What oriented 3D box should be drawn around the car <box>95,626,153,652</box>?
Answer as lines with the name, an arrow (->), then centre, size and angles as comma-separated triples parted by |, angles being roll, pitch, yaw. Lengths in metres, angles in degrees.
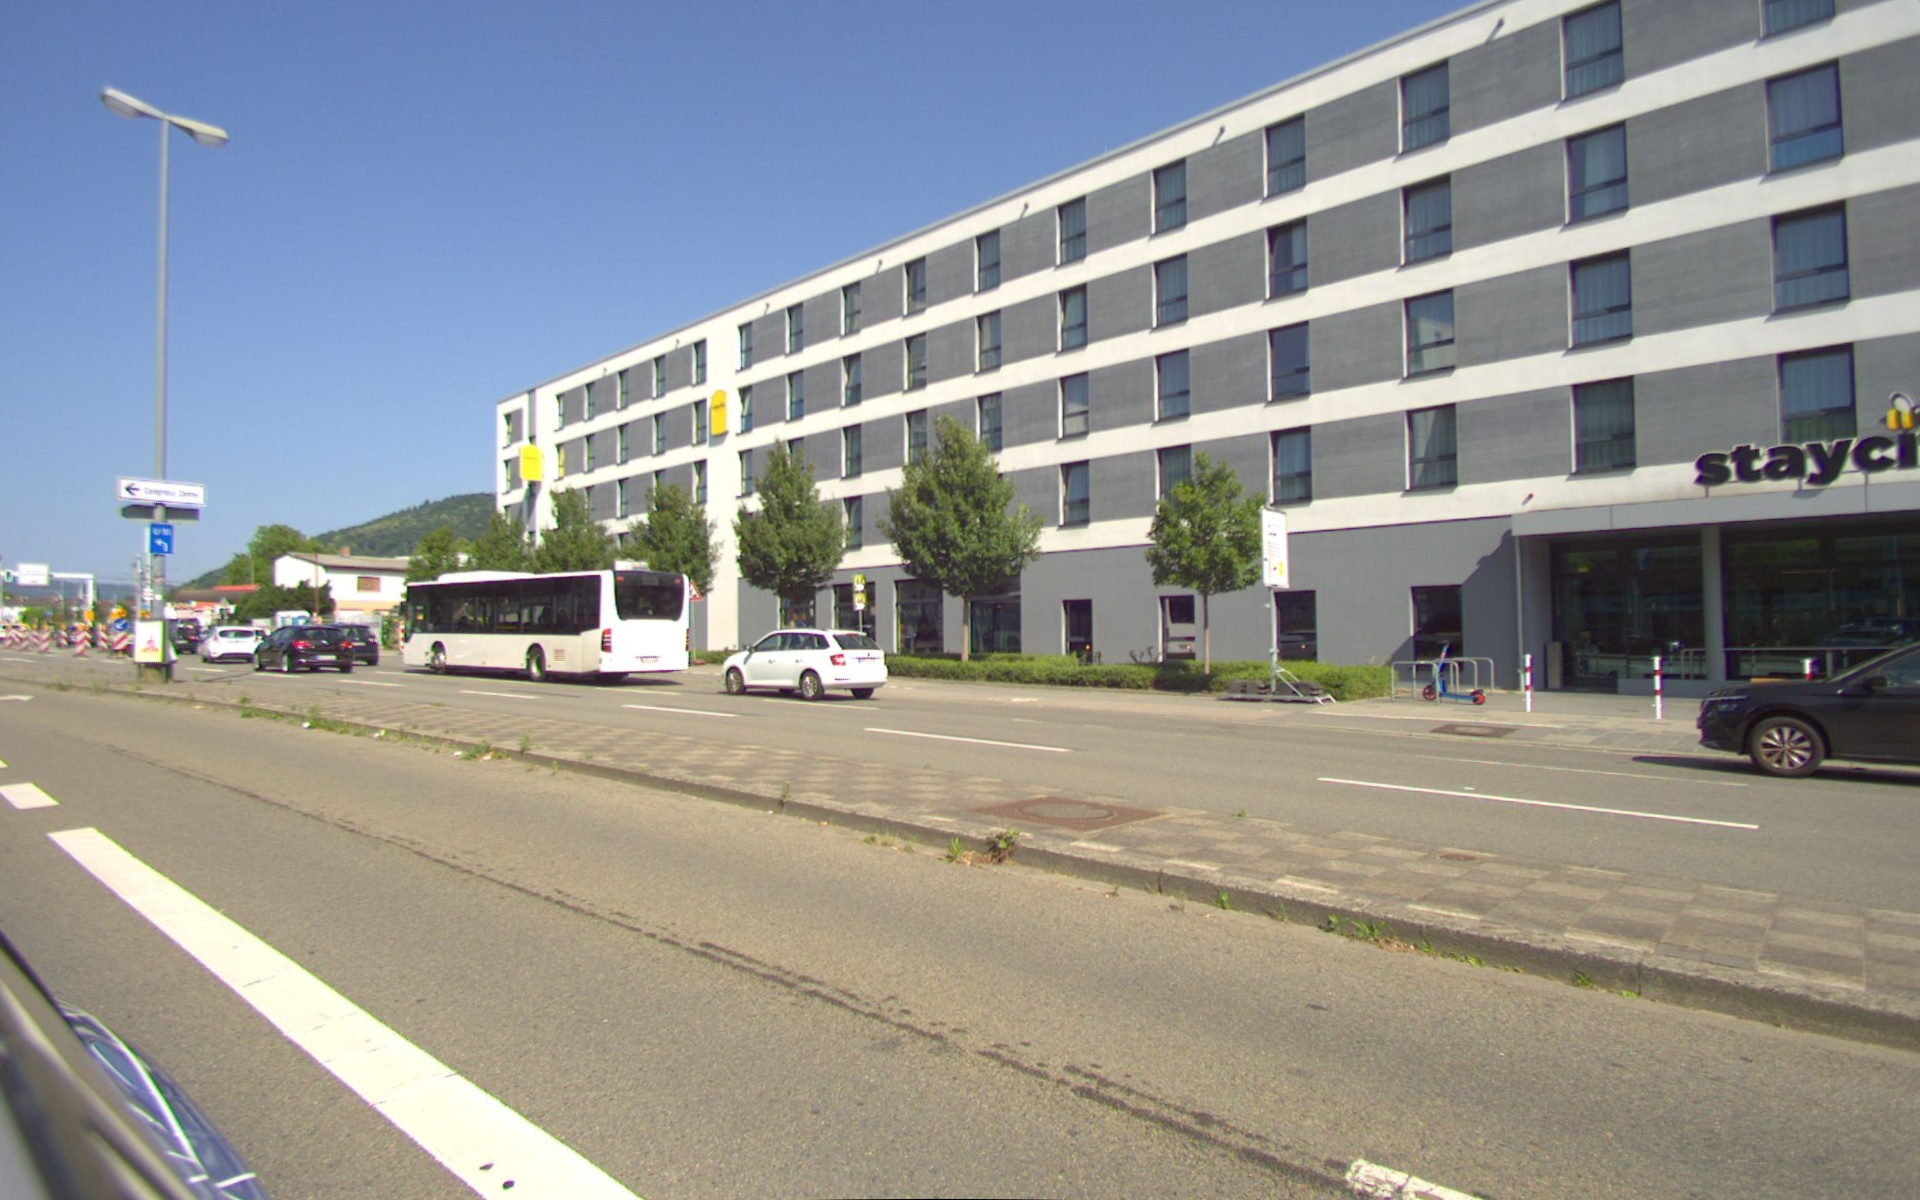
car -> -51.273, 2.344, 62.041 | 4.888, 1.534, 1.973 | -1, -2, 41

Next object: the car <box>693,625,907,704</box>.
car -> -3.479, 1.349, 21.770 | 4.403, 1.497, 1.976 | 0, -4, 36

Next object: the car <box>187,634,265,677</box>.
car -> -28.926, 2.136, 39.841 | 4.000, 1.462, 1.740 | 0, 0, 43

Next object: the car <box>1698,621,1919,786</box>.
car -> 10.277, 1.031, 10.208 | 4.411, 1.590, 1.972 | -1, -3, 42

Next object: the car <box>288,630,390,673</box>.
car -> -23.842, 1.933, 38.794 | 4.888, 1.534, 1.973 | -1, -2, 41

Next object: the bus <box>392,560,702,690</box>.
bus -> -12.211, 0.746, 28.919 | 11.962, 3.102, 2.711 | -1, -4, 39

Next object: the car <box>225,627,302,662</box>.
car -> -32.112, 2.022, 46.614 | 3.973, 1.550, 1.835 | -1, -2, 39

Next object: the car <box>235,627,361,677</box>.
car -> -20.703, 1.573, 31.578 | 4.887, 1.443, 1.973 | -1, -2, 40

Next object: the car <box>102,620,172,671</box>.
car -> -35.575, 1.928, 43.701 | 4.162, 2.029, 1.658 | 0, 0, 41

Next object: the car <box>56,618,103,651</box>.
car -> -58.373, 2.231, 67.064 | 4.000, 2.029, 1.972 | 0, 0, 43
